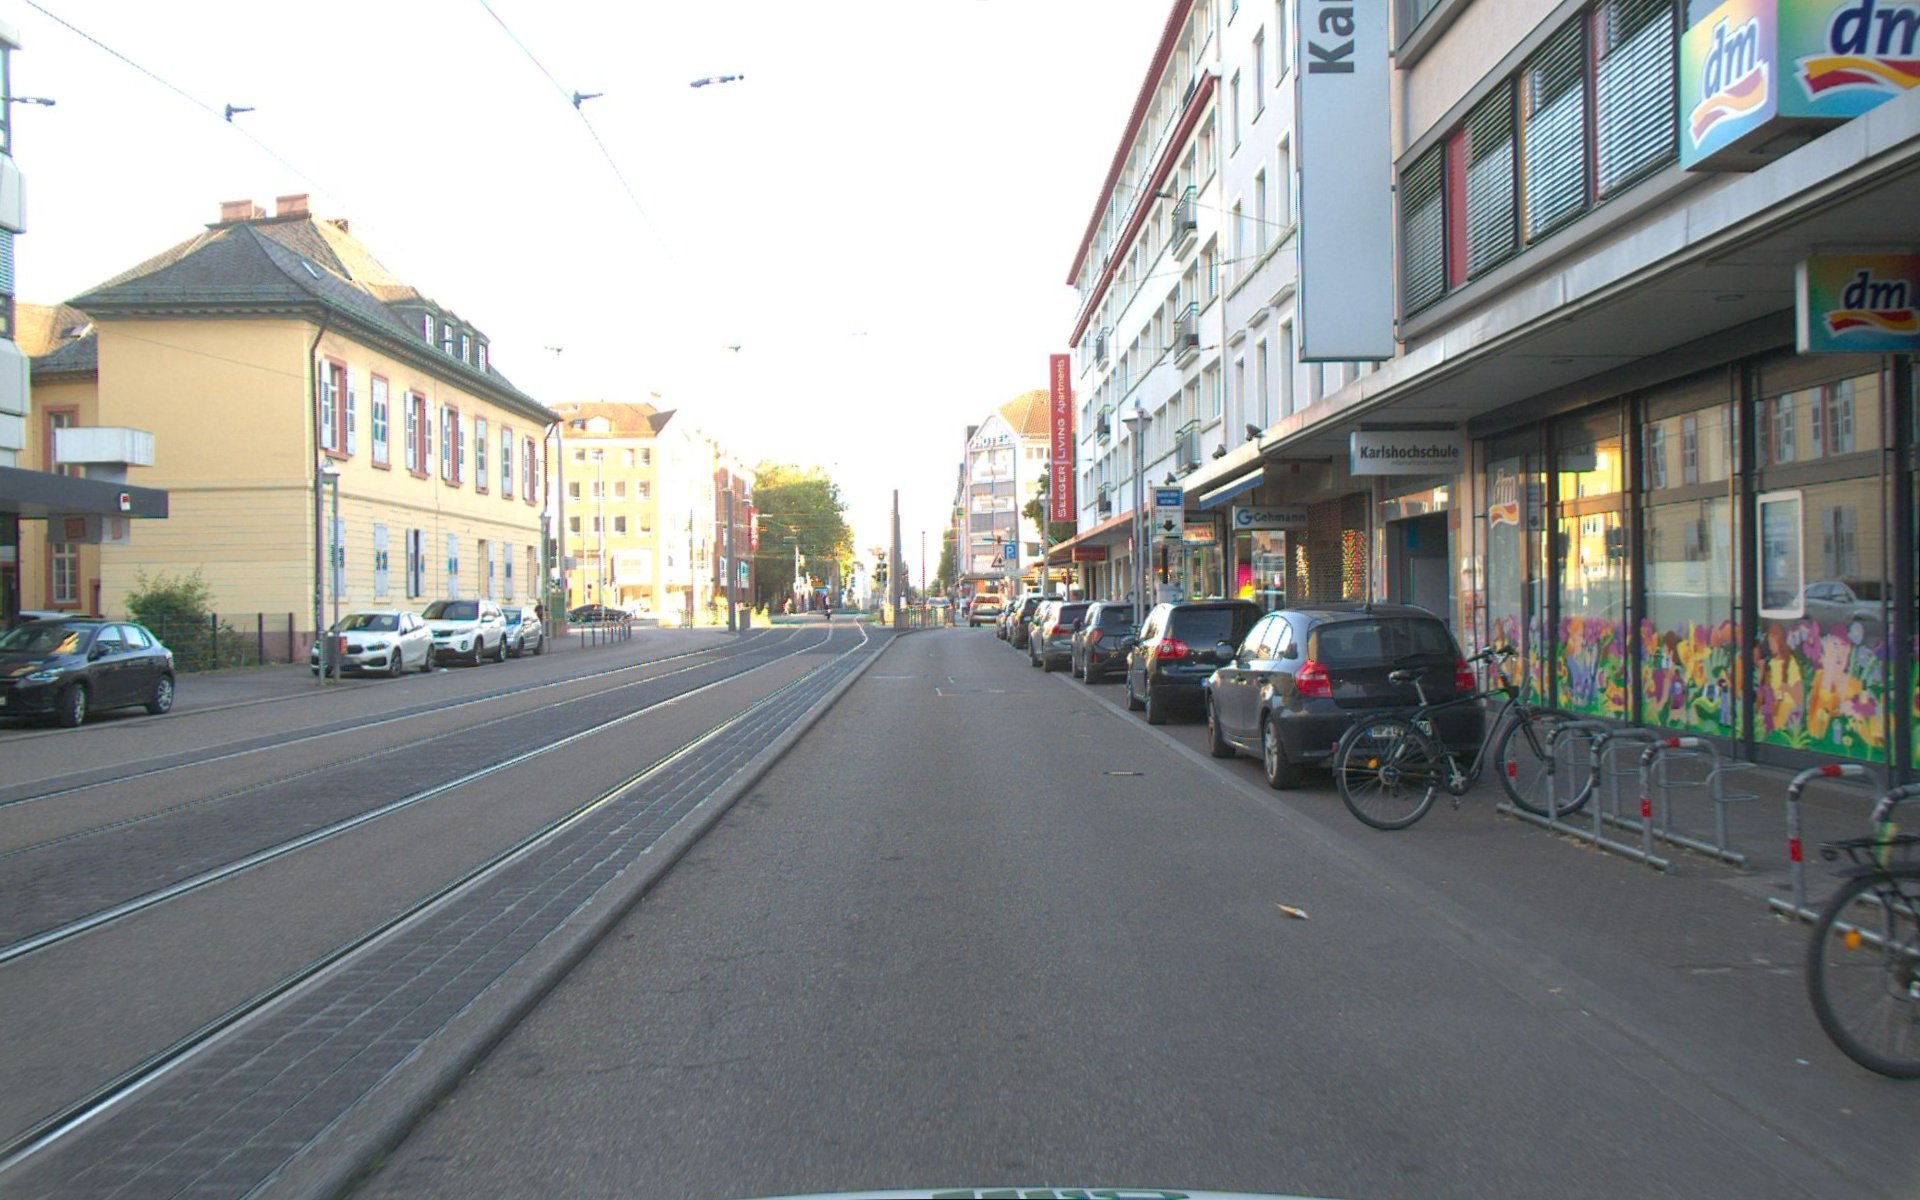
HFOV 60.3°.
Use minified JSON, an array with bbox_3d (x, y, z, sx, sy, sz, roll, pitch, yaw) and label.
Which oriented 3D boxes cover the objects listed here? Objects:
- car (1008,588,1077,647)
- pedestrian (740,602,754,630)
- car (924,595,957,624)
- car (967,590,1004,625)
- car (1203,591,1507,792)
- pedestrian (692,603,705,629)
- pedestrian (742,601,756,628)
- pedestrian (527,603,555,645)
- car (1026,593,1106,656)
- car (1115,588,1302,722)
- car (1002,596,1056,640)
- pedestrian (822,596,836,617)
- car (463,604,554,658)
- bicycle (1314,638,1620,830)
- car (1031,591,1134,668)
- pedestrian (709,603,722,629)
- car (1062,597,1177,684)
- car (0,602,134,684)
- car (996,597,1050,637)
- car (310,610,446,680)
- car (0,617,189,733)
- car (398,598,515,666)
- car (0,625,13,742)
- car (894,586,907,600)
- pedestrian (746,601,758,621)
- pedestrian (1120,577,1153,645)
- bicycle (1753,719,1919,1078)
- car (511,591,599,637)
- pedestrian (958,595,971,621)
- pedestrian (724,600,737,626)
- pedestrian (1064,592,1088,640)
[{"bbox_3d":[2.516,0.525,51.464,1.818,1.730,4.416,1,0,-1],"label":"car"},{"bbox_3d":[-10.788,0.812,83.887,0.650,1.399,0.651,1,-1,-4],"label":"pedestrian"},{"bbox_3d":[-1.229,0.649,106.509,1.953,1.623,3.999,-5,-2,-1],"label":"car"},{"bbox_3d":[1.286,0.408,85.218,1.797,1.665,4.090,-2,-2,0],"label":"car"},{"bbox_3d":[3.278,0.702,14.480,1.621,1.488,4.021,1,0,-1],"label":"car"},{"bbox_3d":[-14.352,0.859,90.839,0.650,1.399,0.651,-1,0,-4],"label":"pedestrian"},{"bbox_3d":[-10.812,0.748,84.631,0.650,1.399,0.651,1,-1,-4],"label":"pedestrian"},{"bbox_3d":[-16.018,0.904,63.237,0.783,1.569,0.877,1,-1,1],"label":"pedestrian"},{"bbox_3d":[2.717,0.605,43.364,1.745,1.549,4.356,1,0,-1],"label":"car"},{"bbox_3d":[3.104,0.664,21.409,1.729,1.540,4.071,1,0,-1],"label":"car"},{"bbox_3d":[2.389,0.620,58.007,1.617,1.445,4.190,1,0,-1],"label":"car"},{"bbox_3d":[-9.011,0.443,113.813,0.885,1.399,0.853,-1,0,-4],"label":"pedestrian"},{"bbox_3d":[-13.559,0.900,49.859,1.713,1.500,3.999,1,0,-1],"label":"car"},{"bbox_3d":[3.356,0.872,11.024,1.803,1.129,0.641,-3,0,-4],"label":"bicycle"},{"bbox_3d":[2.635,0.634,36.549,1.755,1.560,4.855,1,0,-2],"label":"car"},{"bbox_3d":[-13.470,0.863,91.169,0.650,1.399,0.651,0,0,-4],"label":"pedestrian"},{"bbox_3d":[2.913,0.721,30.932,1.691,1.507,3.999,1,0,-1],"label":"car"},{"bbox_3d":[-19.166,0.831,33.459,3.907,1.580,1.913,1,-1,-3],"label":"car"},{"bbox_3d":[2.367,0.653,63.057,1.753,1.437,4.686,1,0,-1],"label":"car"},{"bbox_3d":[-13.314,0.991,38.099,1.686,1.478,4.282,1,0,-1],"label":"car"},{"bbox_3d":[-12.951,1.023,24.046,1.657,1.450,3.964,1,0,-1],"label":"car"},{"bbox_3d":[-13.327,0.800,44.052,1.849,1.690,4.758,1,0,-3],"label":"car"},{"bbox_3d":[-12.826,1.054,19.182,1.657,1.459,3.591,0,0,-1],"label":"car"},{"bbox_3d":[-9.116,-1.073,253.629,1.953,1.934,4.000,1,0,0],"label":"car"},{"bbox_3d":[-22.369,1.189,177.929,1.071,2.049,1.162,1,-1,-3],"label":"pedestrian"},{"bbox_3d":[5.021,0.318,47.179,0.759,1.913,0.934,-1,-1,-3],"label":"pedestrian"},{"bbox_3d":[3.543,0.874,5.255,1.759,0.989,0.575,-3,0,-4],"label":"bicycle"},{"bbox_3d":[-19.085,0.651,77.881,3.924,2.049,1.990,-1,0,-18],"label":"car"},{"bbox_3d":[0.288,0.531,111.939,0.856,1.735,0.701,1,-1,2],"label":"pedestrian"},{"bbox_3d":[-12.708,0.708,91.441,0.650,1.399,0.651,-1,0,-4],"label":"pedestrian"},{"bbox_3d":[3.944,0.539,56.219,0.718,1.601,0.966,-1,0,-2],"label":"pedestrian"}]
